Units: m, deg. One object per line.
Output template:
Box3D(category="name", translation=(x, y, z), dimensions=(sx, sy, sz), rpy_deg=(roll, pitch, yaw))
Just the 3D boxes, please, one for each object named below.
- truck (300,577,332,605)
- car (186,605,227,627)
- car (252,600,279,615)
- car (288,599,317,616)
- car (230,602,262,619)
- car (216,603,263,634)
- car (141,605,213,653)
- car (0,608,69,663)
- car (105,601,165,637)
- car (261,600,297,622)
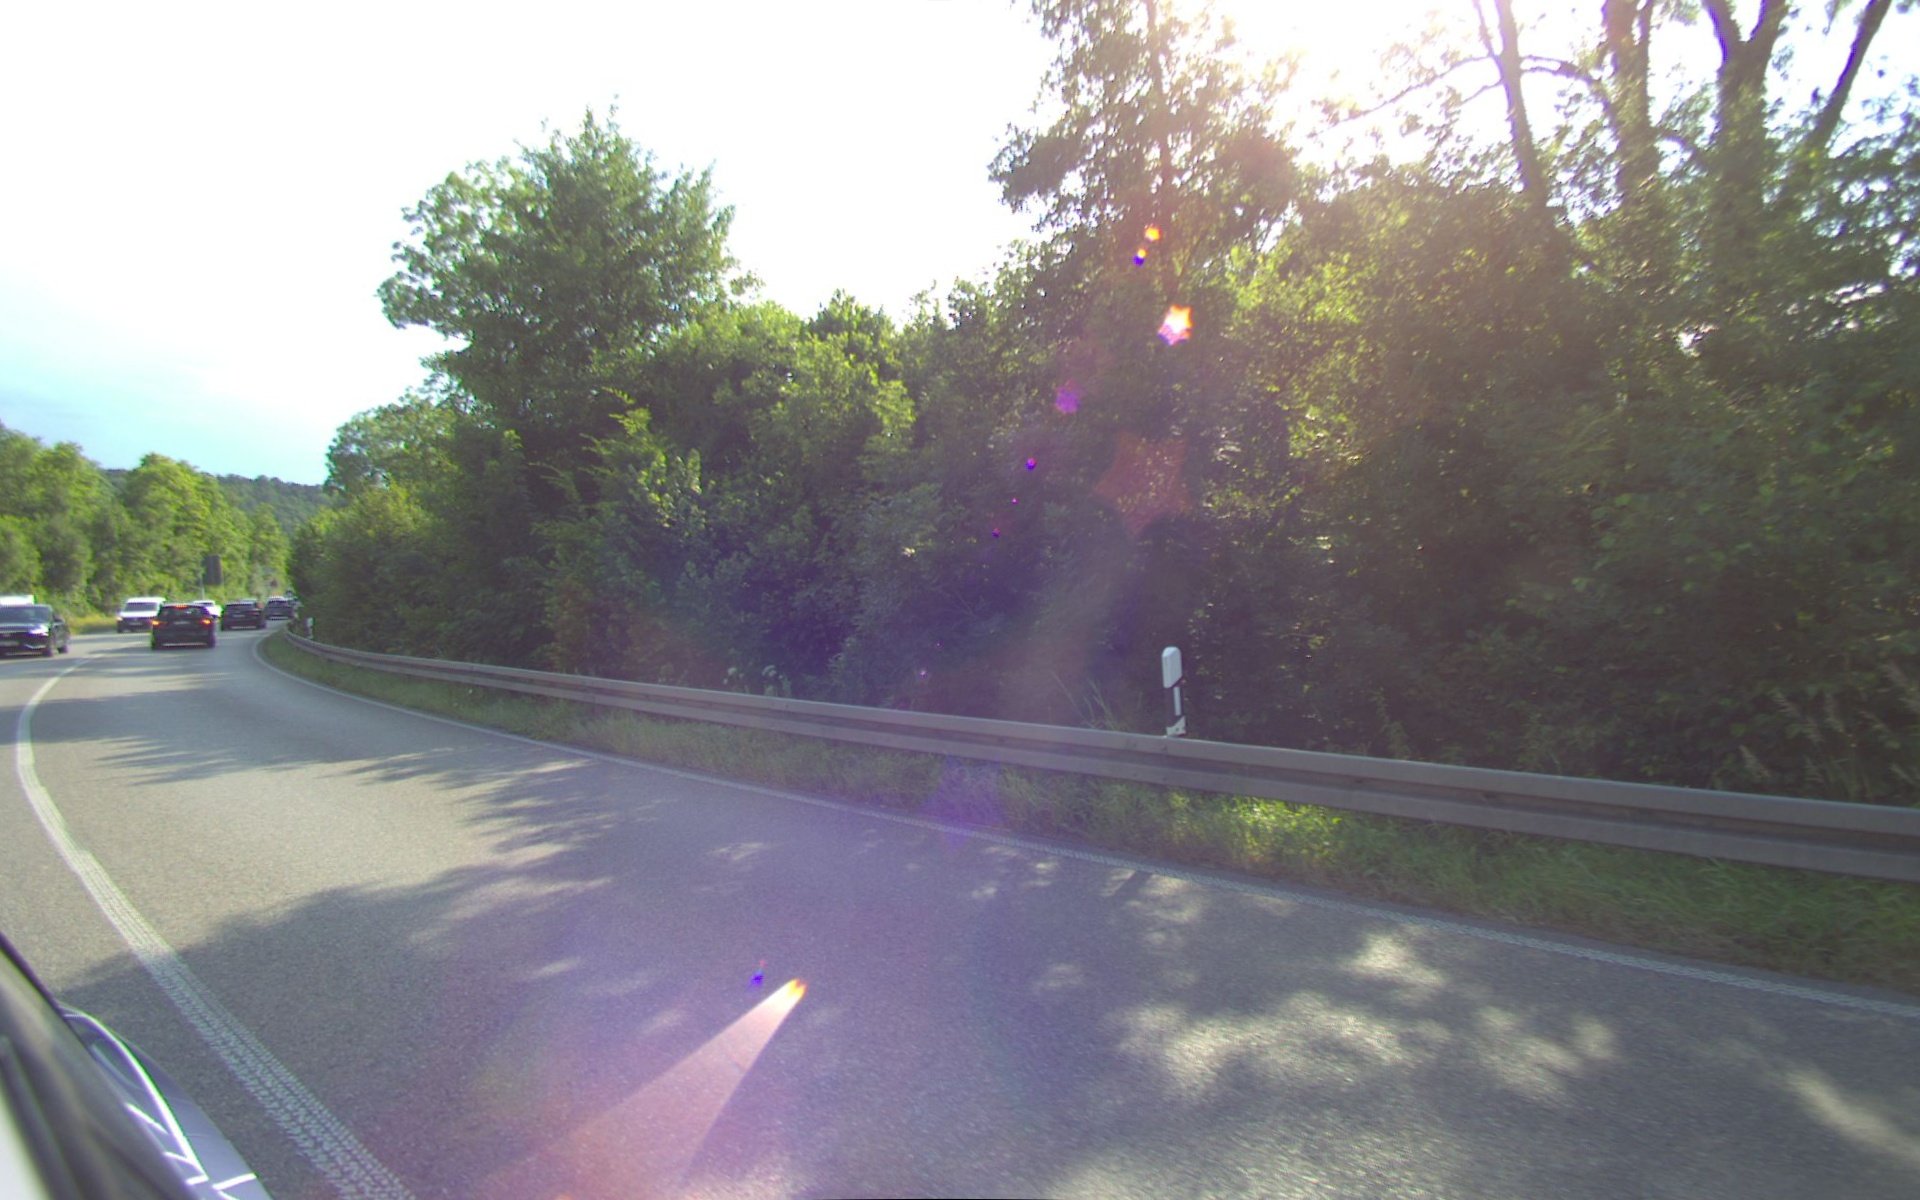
Box3D(category="truck", translation=(-72.678, -0.988, 114.268), dimensions=(2.421, 3.095, 6.285), rpy_deg=(-1, 1, -27))
Box3D(category="car", translation=(-55.404, 1.137, 74.484), dimensions=(1.866, 1.456, 4.489), rpy_deg=(-4, 2, -30))
Box3D(category="car", translation=(-76.290, 0.828, 111.152), dimensions=(1.884, 1.476, 4.551), rpy_deg=(-4, 2, -28))
Box3D(category="car", translation=(-59.975, 0.632, 92.343), dimensions=(1.767, 1.456, 3.806), rpy_deg=(-1, 1, -26))
Box3D(category="car", translation=(-67.400, 0.986, 95.598), dimensions=(1.829, 1.431, 4.433), rpy_deg=(-4, 2, -28))
Box3D(category="car", translation=(-38.193, 0.934, 53.715), dimensions=(1.825, 1.519, 4.416), rpy_deg=(0, 0, -33))
Box3D(category="car", translation=(-27.928, 0.980, 36.210), dimensions=(1.842, 1.601, 4.259), rpy_deg=(0, 0, -35))
Box3D(category="car", translation=(-29.208, 1.059, 31.365), dimensions=(1.819, 1.581, 4.268), rpy_deg=(-1, 1, -34))
Box3D(category="car", translation=(-43.359, 0.962, 53.264), dimensions=(1.838, 1.733, 4.777), rpy_deg=(-3, 2, -32))
Box3D(category="car", translation=(-48.508, 0.783, 72.101), dimensions=(1.637, 1.456, 3.934), rpy_deg=(-1, 1, -27))
